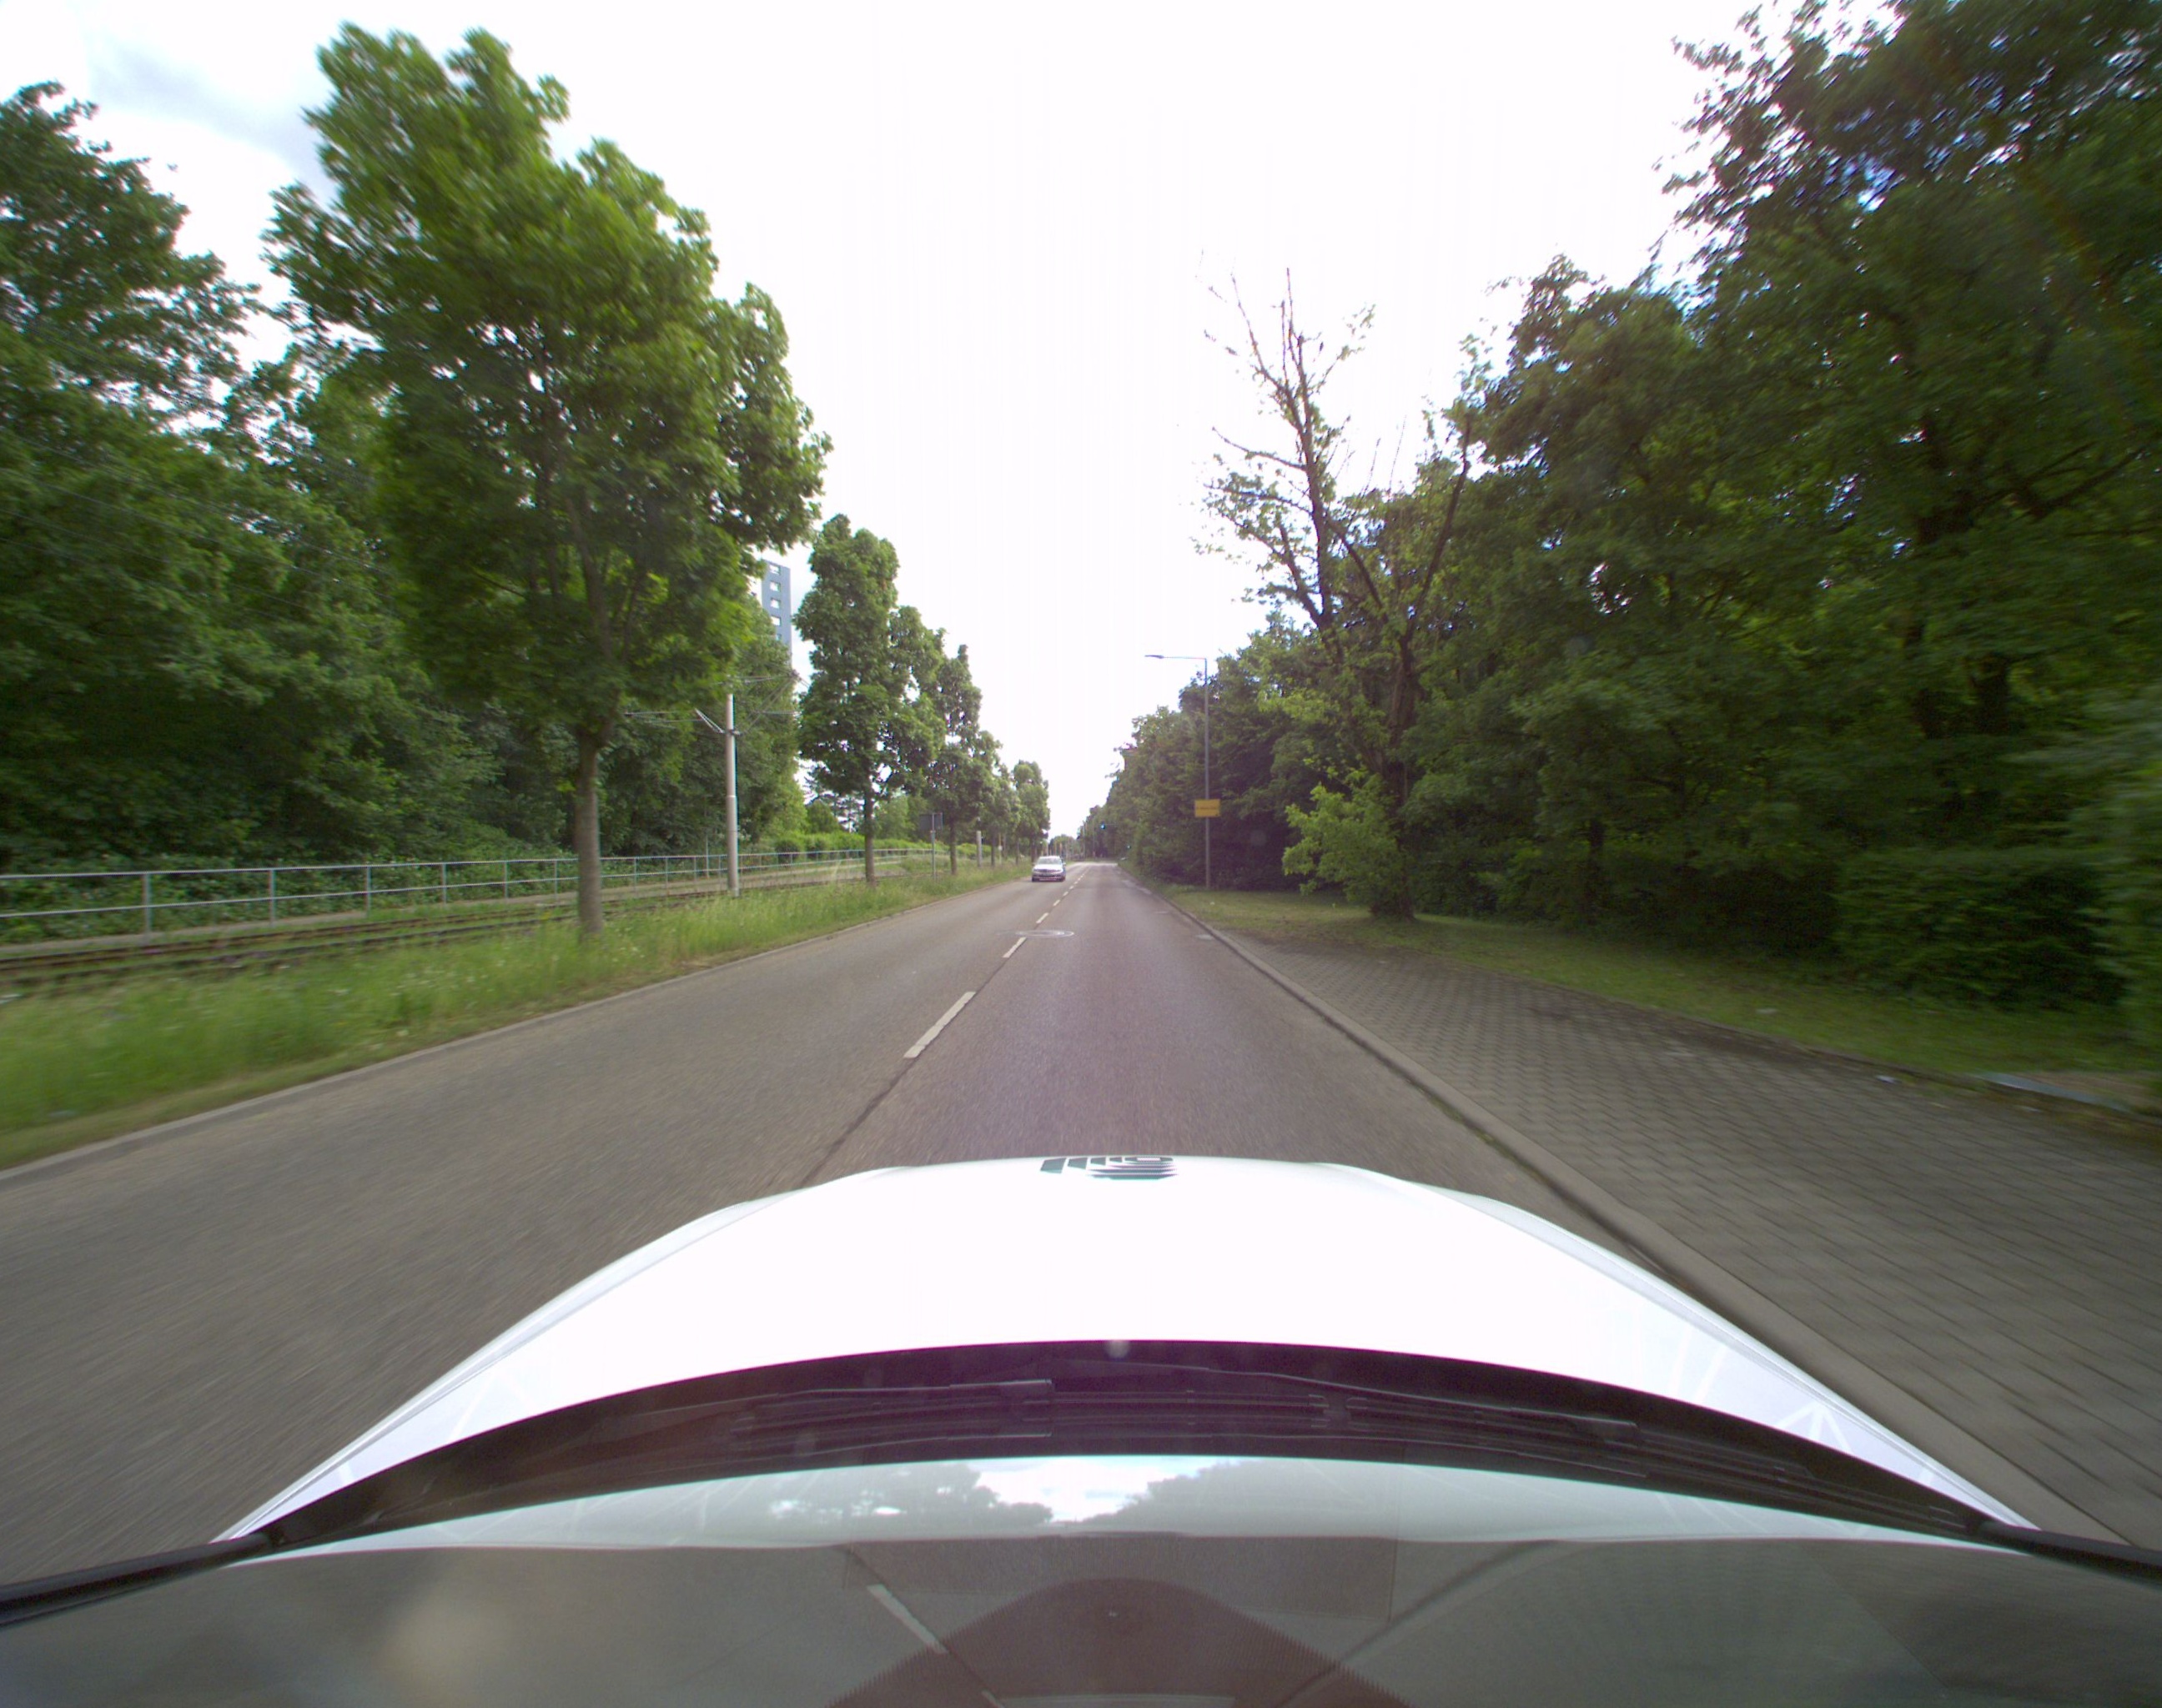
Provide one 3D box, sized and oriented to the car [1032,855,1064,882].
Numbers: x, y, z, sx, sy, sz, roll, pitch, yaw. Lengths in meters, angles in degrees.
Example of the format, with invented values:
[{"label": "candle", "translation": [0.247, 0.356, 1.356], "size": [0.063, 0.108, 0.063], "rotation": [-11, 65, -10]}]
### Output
[{"label": "car", "translation": [-1.864, 0.795, 47.170], "size": [1.769, 1.469, 4.238], "rotation": [0, 0, -2]}]
